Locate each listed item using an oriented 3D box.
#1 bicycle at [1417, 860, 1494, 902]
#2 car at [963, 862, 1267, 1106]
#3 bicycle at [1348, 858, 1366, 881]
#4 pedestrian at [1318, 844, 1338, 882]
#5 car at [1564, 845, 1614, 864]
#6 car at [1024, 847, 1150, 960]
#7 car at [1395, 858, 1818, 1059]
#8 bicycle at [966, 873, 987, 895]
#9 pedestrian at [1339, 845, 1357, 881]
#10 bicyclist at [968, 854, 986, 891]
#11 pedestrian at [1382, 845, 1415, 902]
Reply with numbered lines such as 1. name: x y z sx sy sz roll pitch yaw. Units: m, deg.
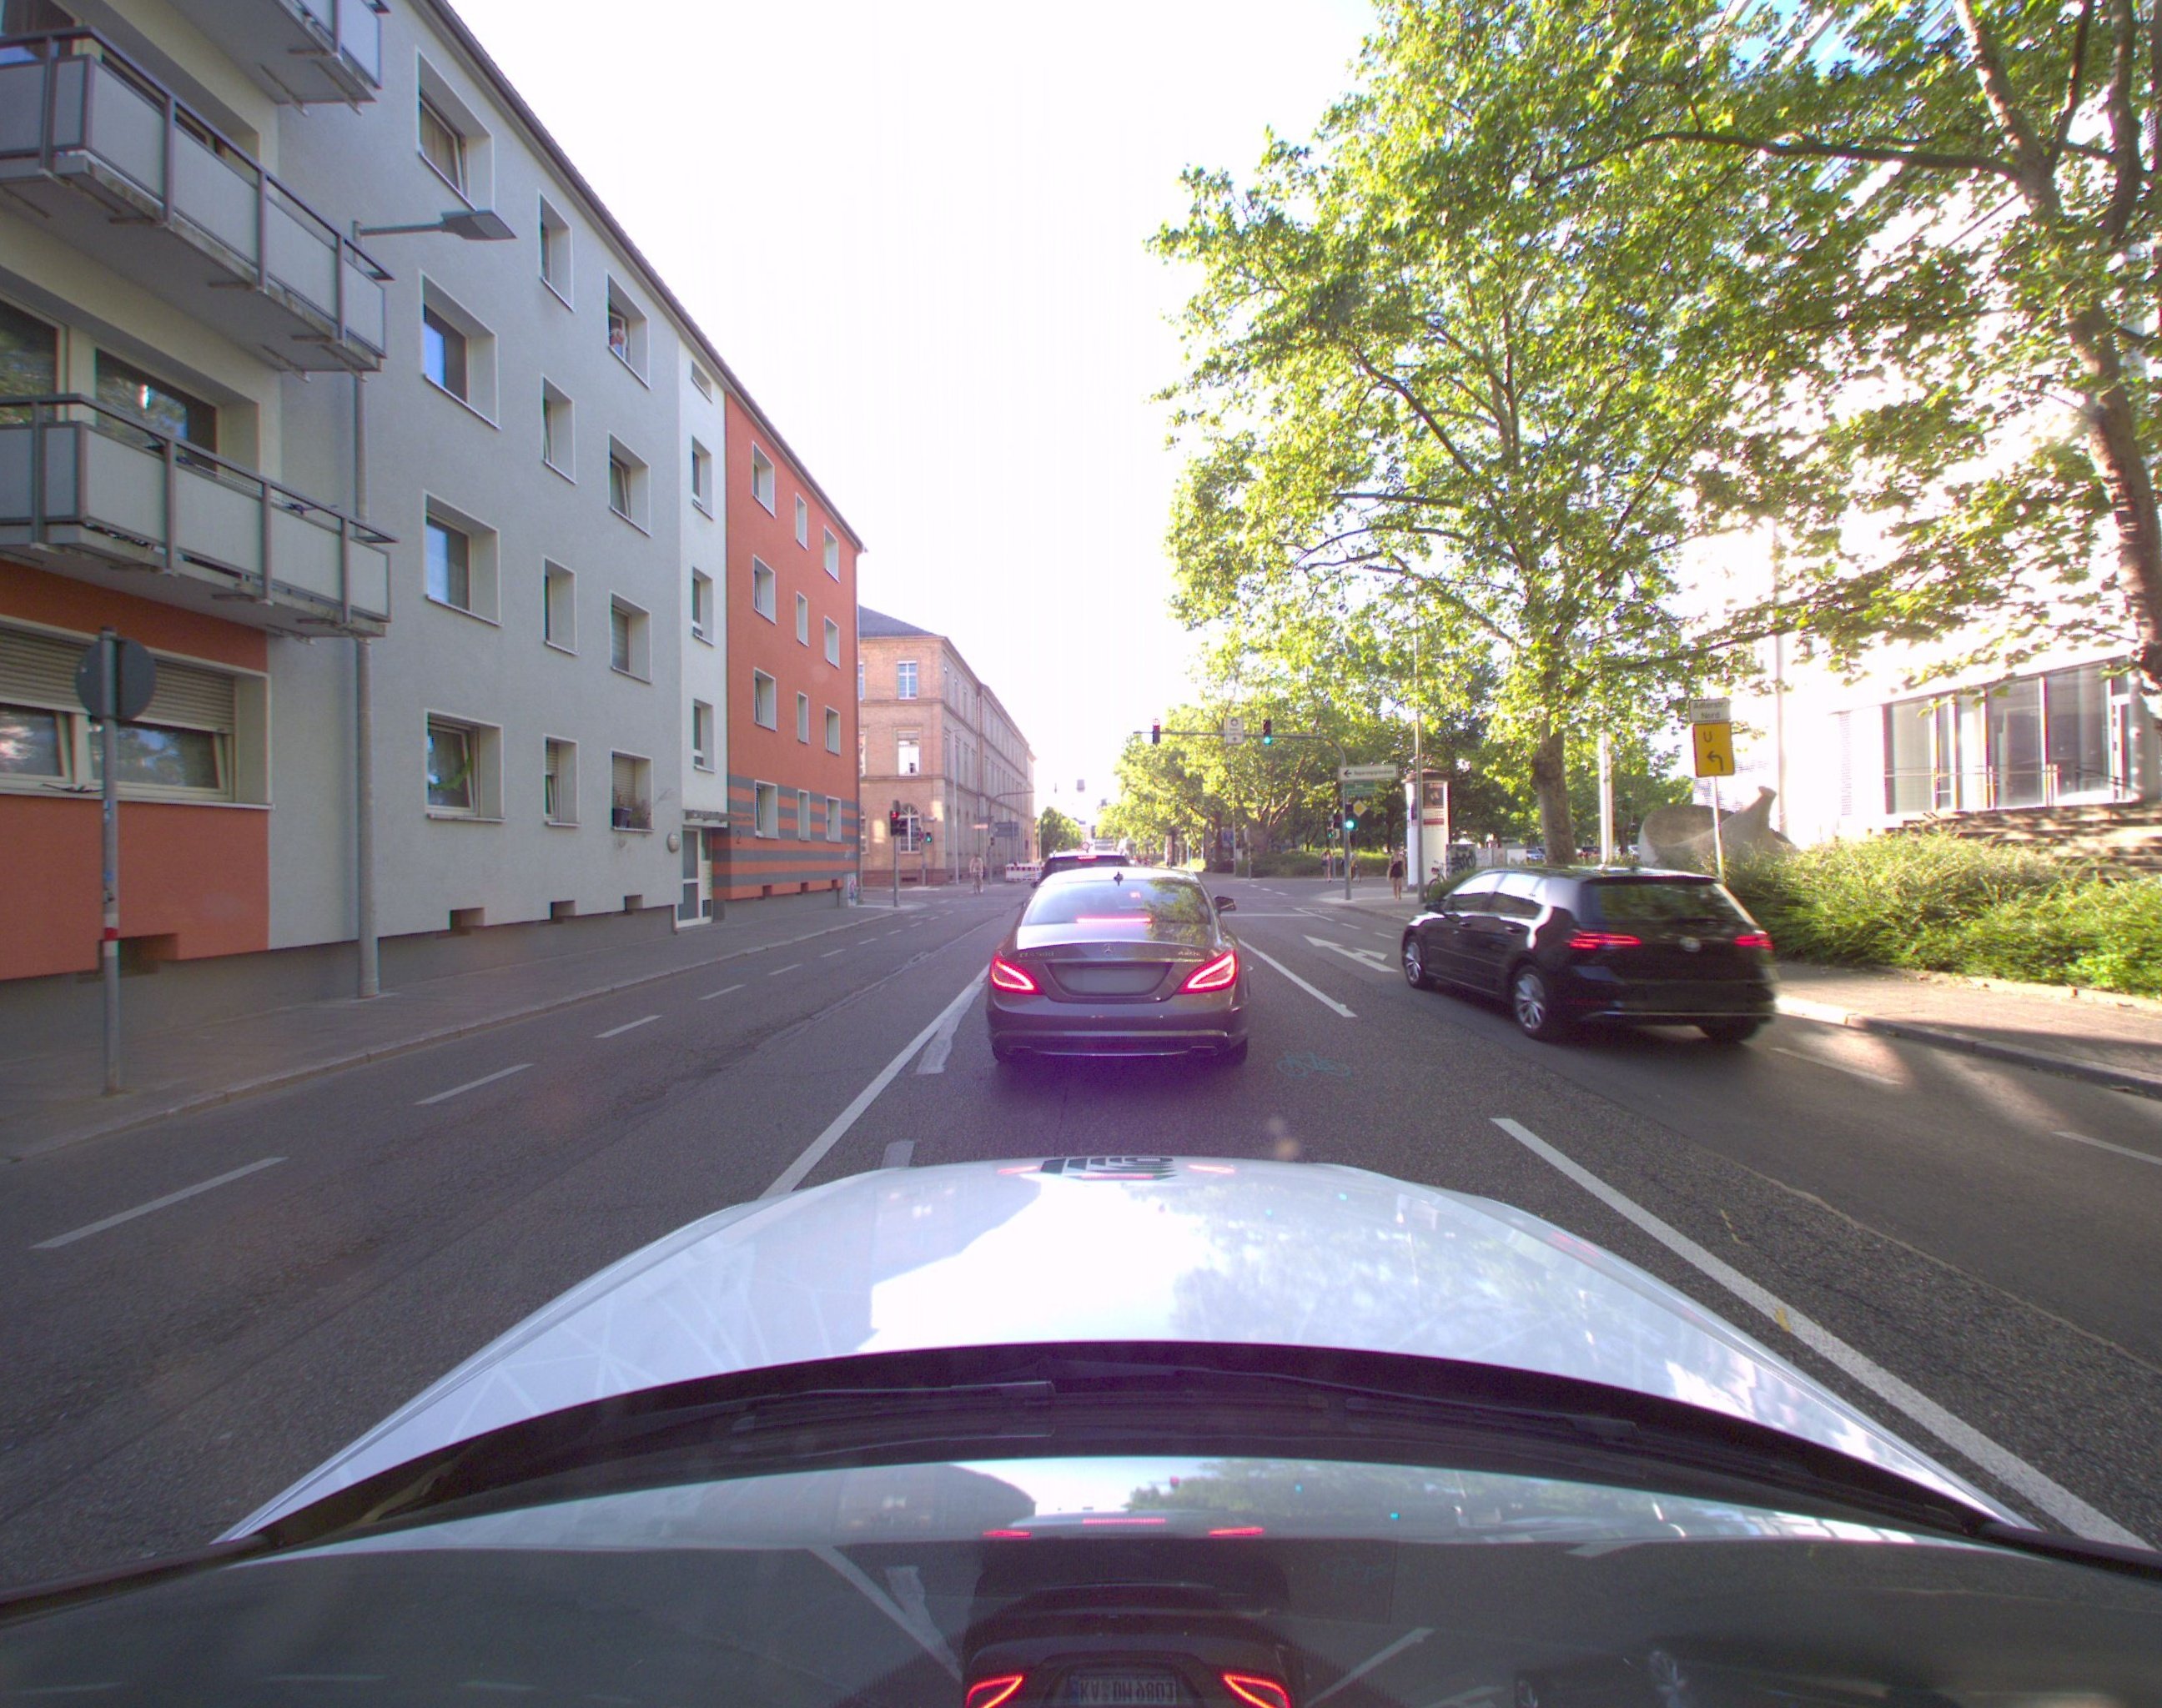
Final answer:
1. bicycle: 10.801 0.771 23.515 1.969 1.190 0.528 0 -1 0
2. car: 0.488 0.801 7.183 1.833 1.429 4.527 0 0 8
3. bicycle: 13.291 0.733 39.205 0.521 1.100 1.746 -1 -1 10
4. pedestrian: 11.953 0.434 39.472 0.728 1.808 0.911 -2 -2 9
5. car: 39.741 0.052 63.837 1.624 1.483 3.796 0 -1 1
6. car: 0.201 0.741 13.874 1.801 1.612 4.003 -1 -1 3
7. car: 4.571 0.776 7.877 1.683 1.440 3.903 1 0 2
8. bicycle: -4.355 1.246 34.047 0.546 0.891 1.868 0 -1 2
9. pedestrian: 12.906 0.419 39.347 0.679 1.697 0.973 -1 -1 11
10. bicyclist: -4.339 0.767 34.063 0.646 1.558 0.807 0 -1 1
11. pedestrian: 9.517 0.578 24.446 0.791 1.630 0.912 -3 -2 19
